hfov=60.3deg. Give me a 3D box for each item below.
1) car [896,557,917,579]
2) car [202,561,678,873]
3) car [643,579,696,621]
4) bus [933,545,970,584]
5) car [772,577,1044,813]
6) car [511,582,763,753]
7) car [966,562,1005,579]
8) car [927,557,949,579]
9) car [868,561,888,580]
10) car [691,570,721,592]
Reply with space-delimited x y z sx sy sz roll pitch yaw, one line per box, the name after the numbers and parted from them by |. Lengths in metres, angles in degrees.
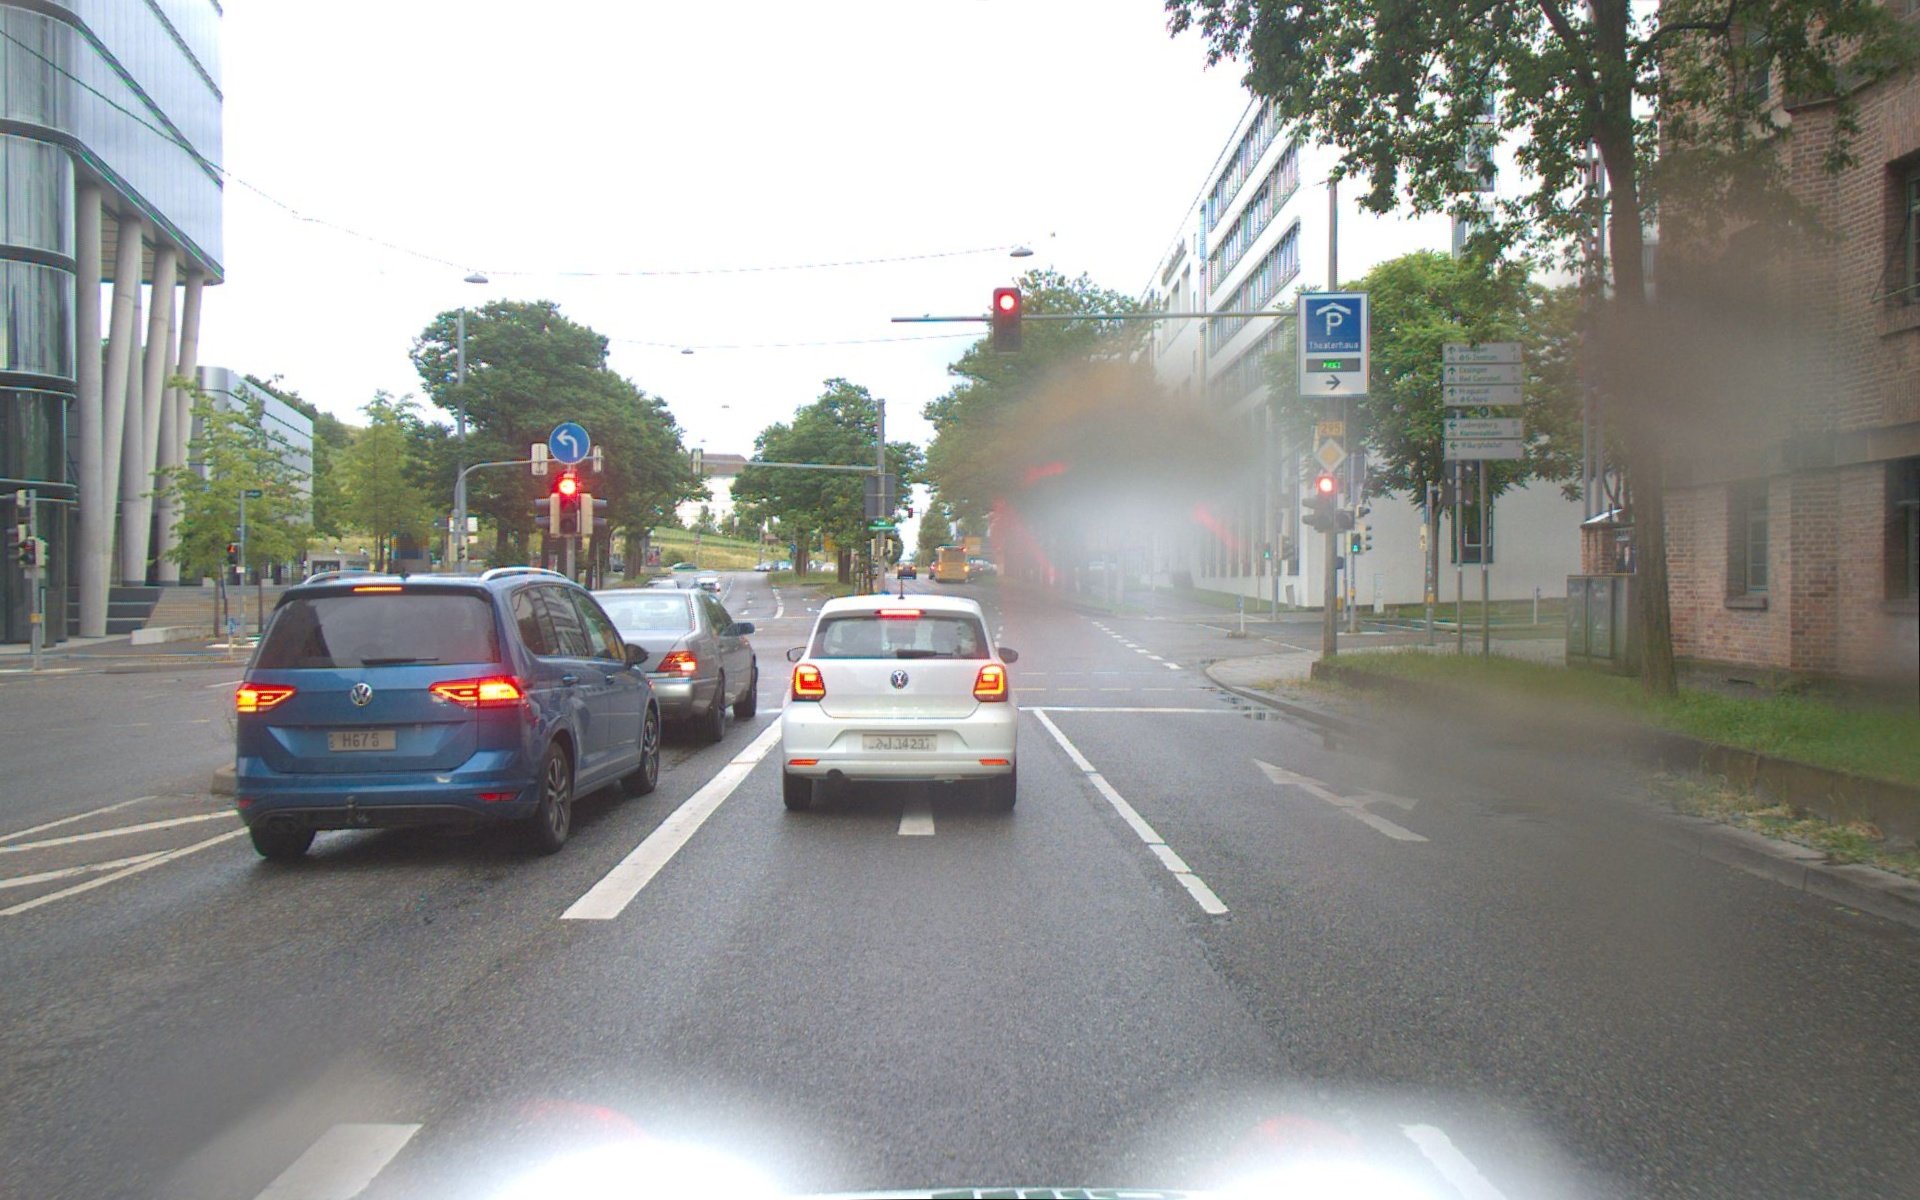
-5.133 -3.047 157.946 1.954 2.049 3.998 0 0 -3 | car
-3.113 0.600 10.868 1.736 1.624 4.198 -1 0 1 | car
-11.494 -0.035 65.578 1.716 1.547 3.813 -1 1 -6 | car
-0.813 -3.166 145.547 2.771 3.323 9.996 0 2 -3 | bus
-0.391 0.603 12.730 1.758 1.528 3.999 0 0 -2 | car
-3.209 0.604 17.246 1.809 1.537 4.048 -1 0 0 | car
2.483 -2.803 158.137 1.670 1.542 3.804 0 1 42 | car
-2.134 -3.033 159.028 1.954 2.049 3.998 0 0 -3 | car
-7.922 -2.862 159.628 1.759 1.772 3.997 -1 1 -4 | car
-17.852 -1.346 116.265 1.779 1.436 4.651 -2 2 -5 | car
